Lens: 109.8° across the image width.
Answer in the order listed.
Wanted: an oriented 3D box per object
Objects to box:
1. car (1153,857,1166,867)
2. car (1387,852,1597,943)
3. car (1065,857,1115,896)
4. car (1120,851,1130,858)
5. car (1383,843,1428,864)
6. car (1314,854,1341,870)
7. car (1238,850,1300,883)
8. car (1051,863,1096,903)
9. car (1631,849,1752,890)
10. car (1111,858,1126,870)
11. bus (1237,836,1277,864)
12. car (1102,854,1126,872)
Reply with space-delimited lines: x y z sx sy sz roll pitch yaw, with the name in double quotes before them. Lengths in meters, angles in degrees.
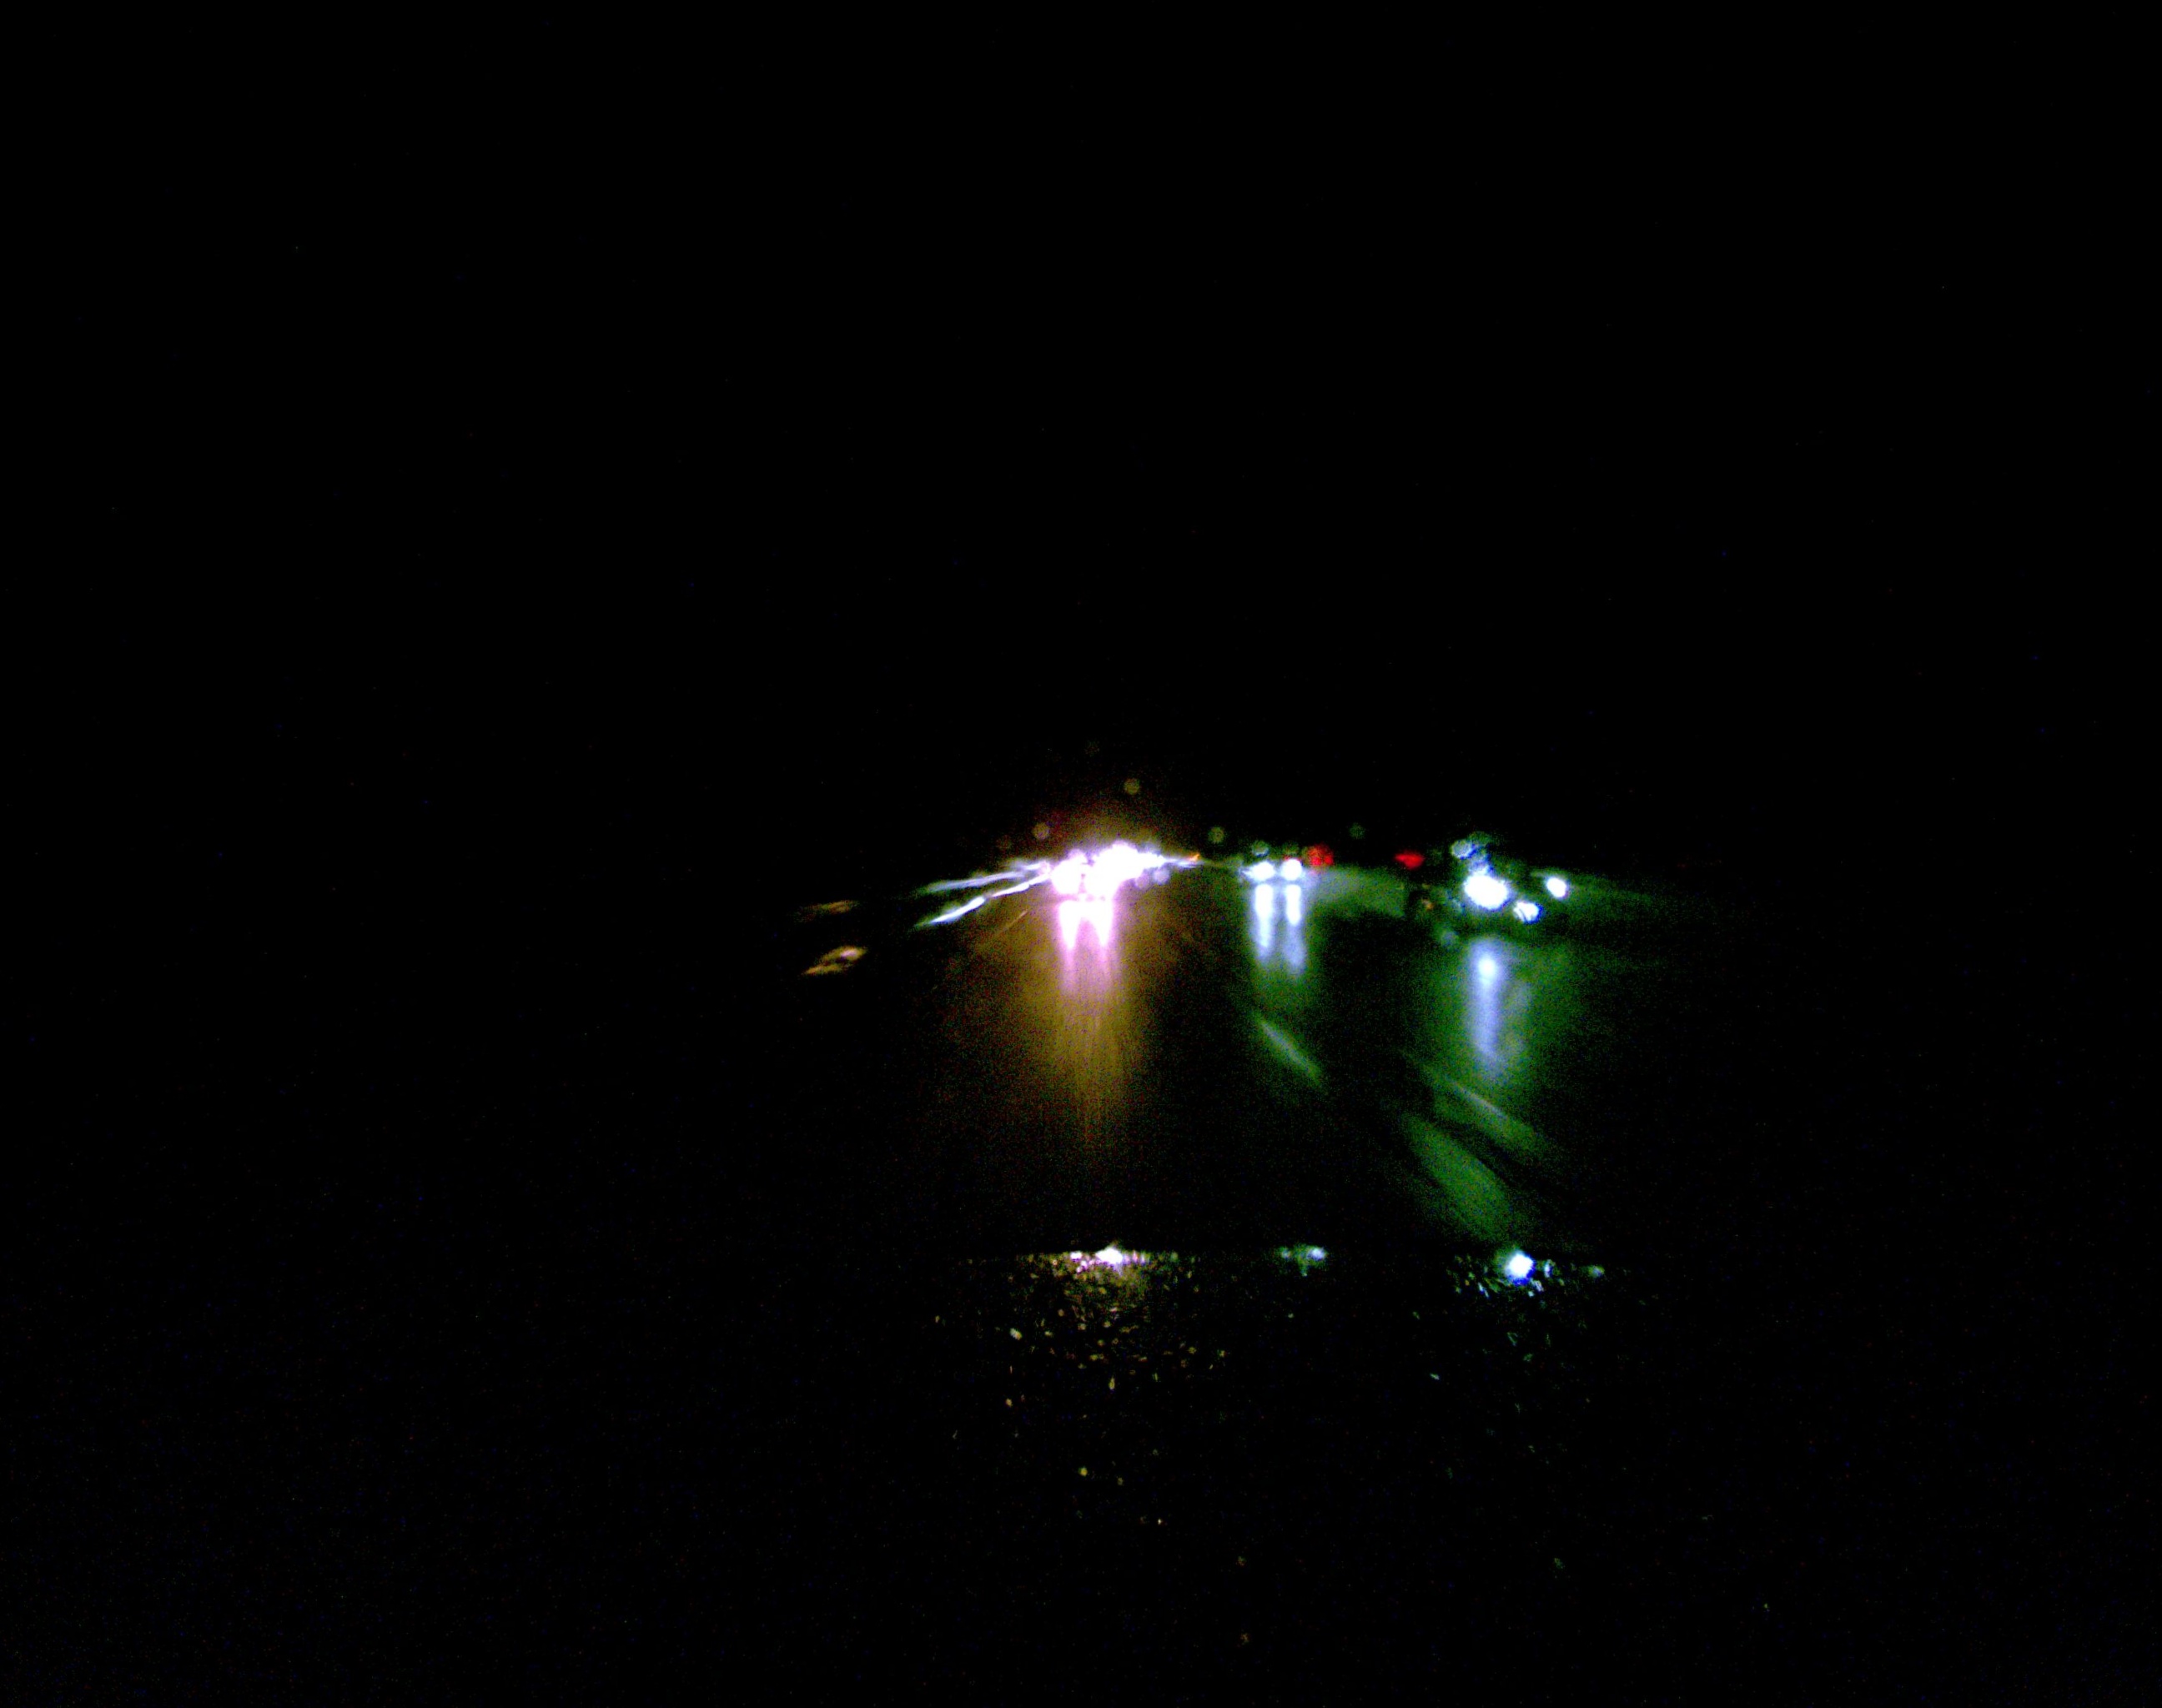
"car" 13.932 1.350 135.115 1.998 1.551 4.587 -2 1 1
"car" 7.849 0.742 15.022 1.998 1.433 4.000 -2 1 1
"car" 0.390 0.971 33.263 1.998 1.542 4.001 -2 -1 1
"car" 9.762 0.095 168.475 1.998 1.551 4.587 -2 1 1
"car" 29.004 -0.070 68.127 1.885 1.712 4.562 -2 1 -2
"car" 30.241 0.952 93.336 1.884 1.712 4.263 -2 1 1
"car" 9.677 0.607 39.597 1.998 1.468 5.164 -2 1 1
"car" -0.250 1.018 28.233 1.525 1.256 3.369 -2 1 1
"car" 28.493 0.676 35.690 1.885 1.712 4.562 -2 1 -2
"car" 5.479 1.380 111.038 1.998 1.551 4.587 -2 1 1
"bus" 29.948 -0.800 130.232 3.379 4.423 16.541 -2 1 1
"car" 3.127 0.812 72.100 1.999 1.468 4.840 -2 1 0
